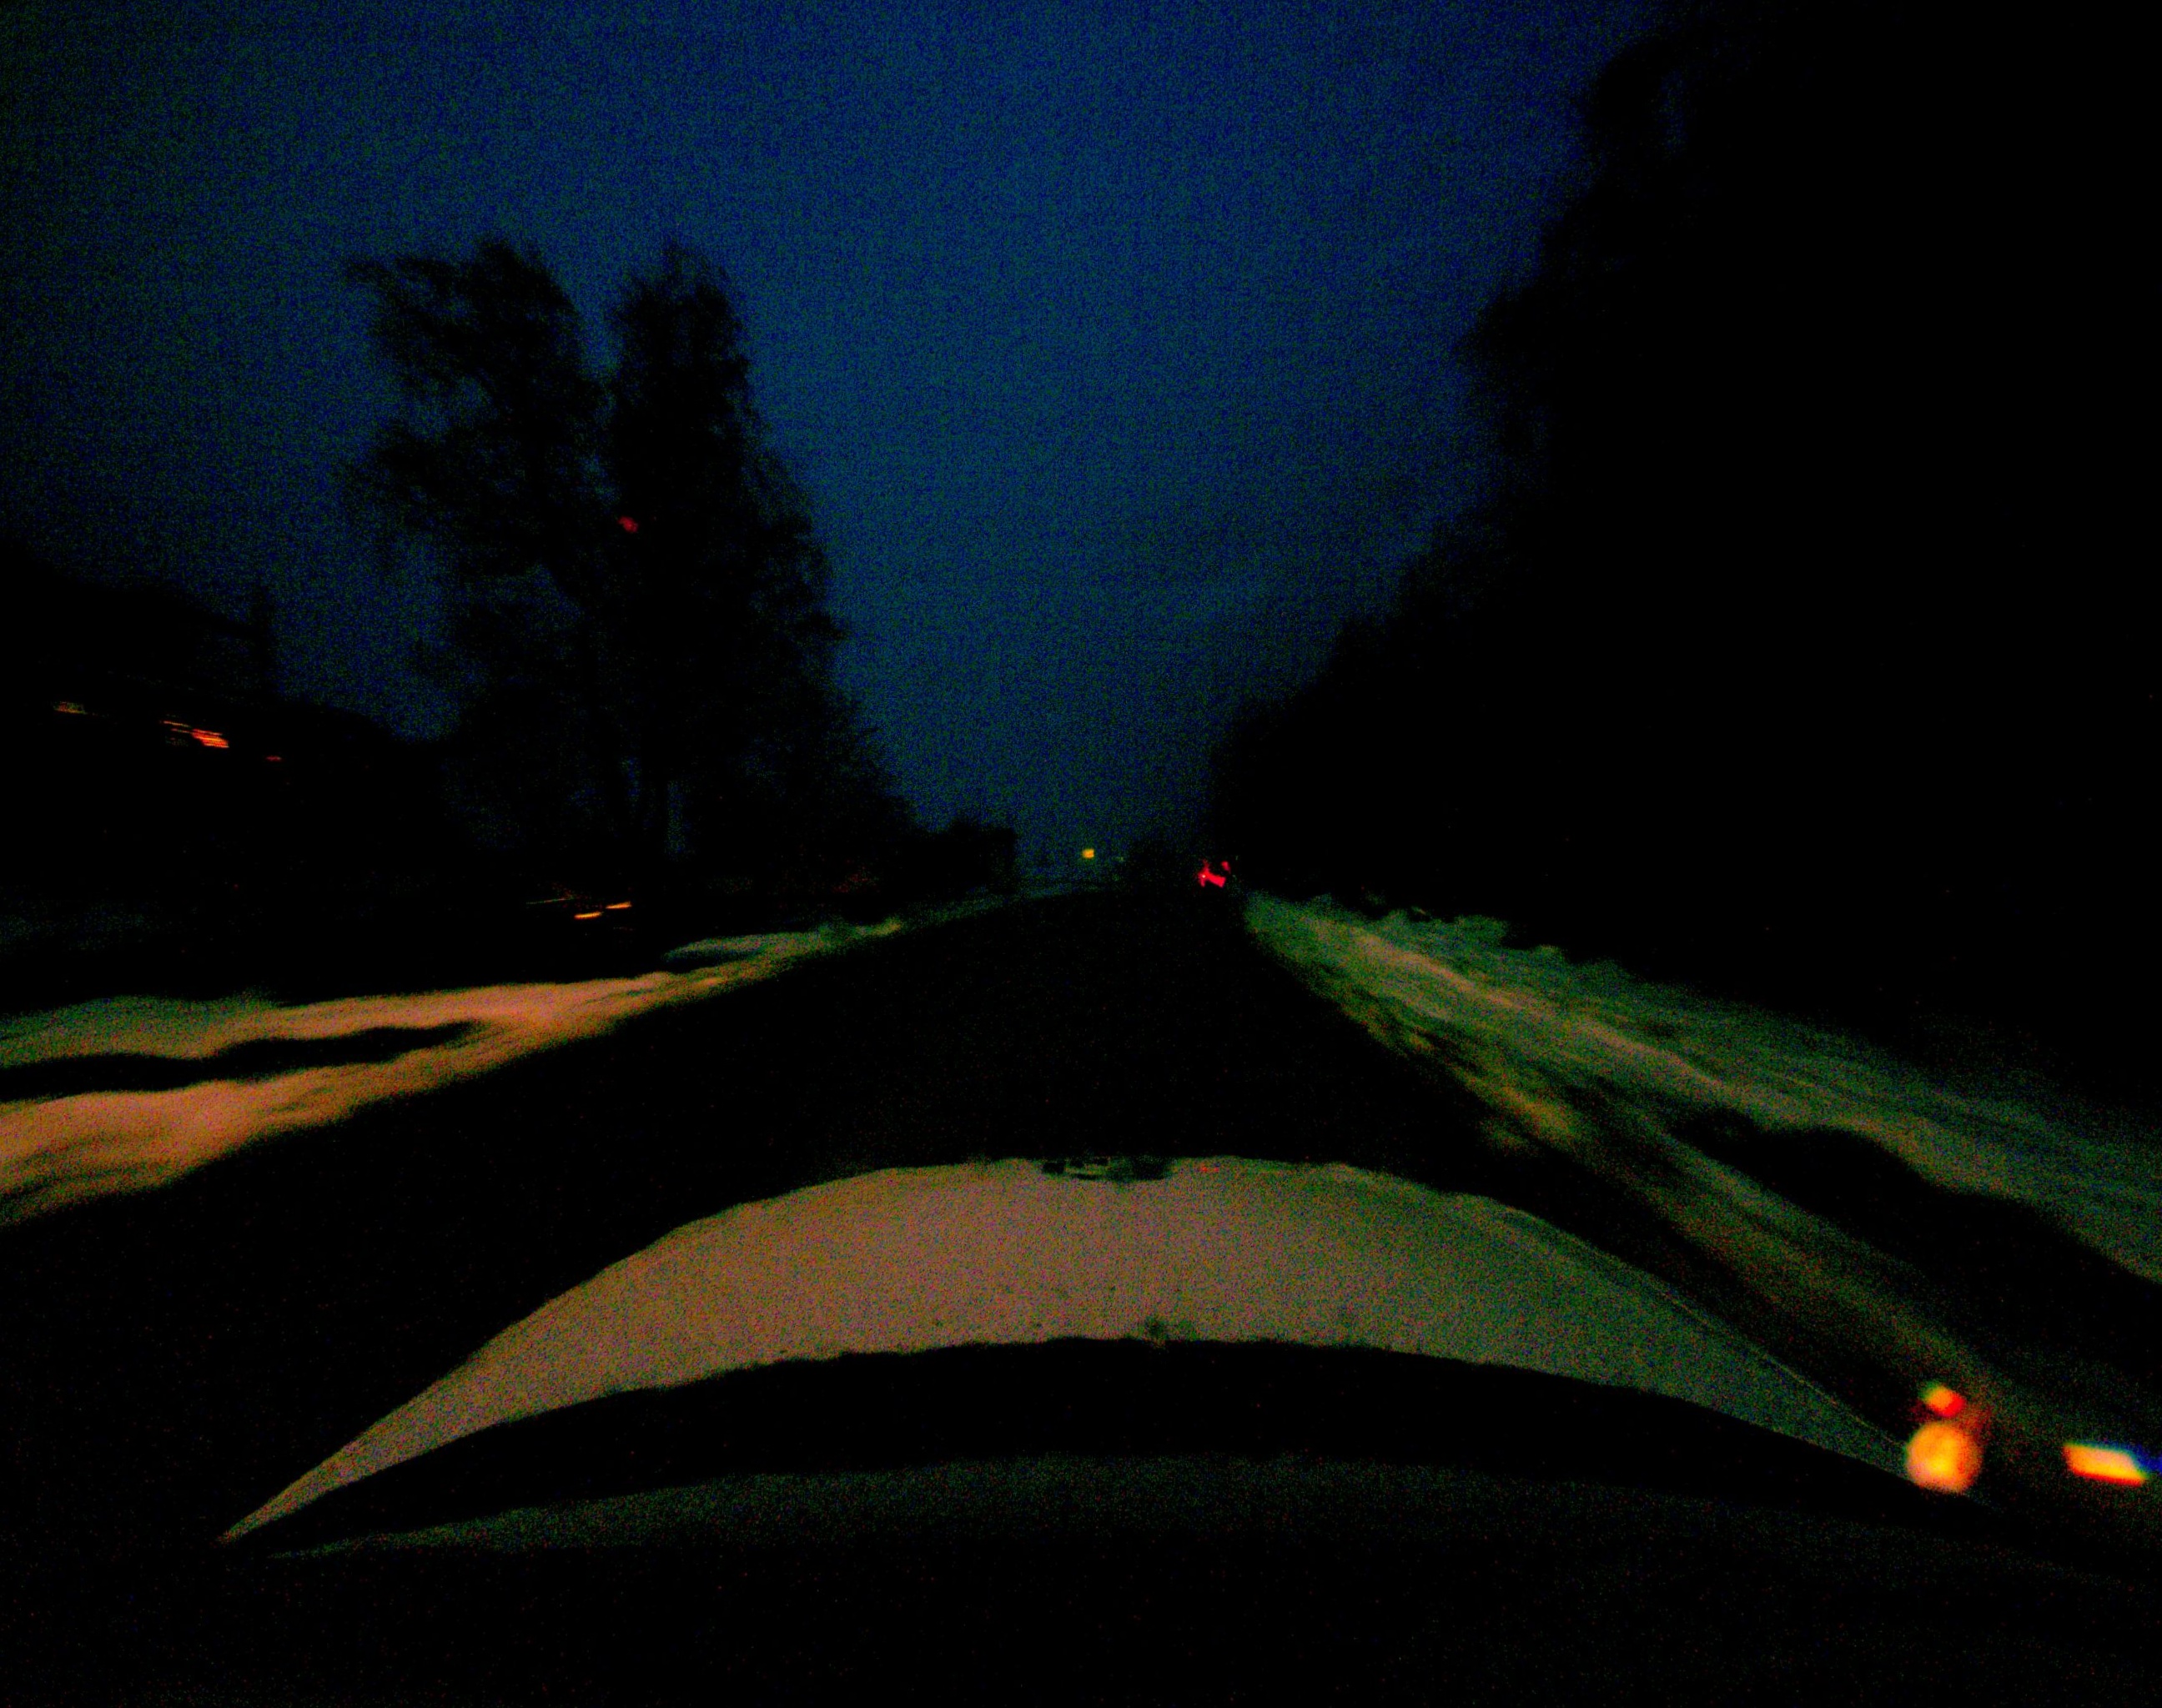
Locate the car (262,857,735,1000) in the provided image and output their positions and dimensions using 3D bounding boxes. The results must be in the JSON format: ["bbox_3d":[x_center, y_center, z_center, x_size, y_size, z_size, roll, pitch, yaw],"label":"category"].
[{"bbox_3d":[-7.723,0.926,11.269,4.874,1.485,2.122,-3,0,-2],"label":"car"}]

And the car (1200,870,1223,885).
[{"bbox_3d":[12.682,2.315,79.325,1.983,1.420,4.007,-1,-2,7],"label":"car"}]

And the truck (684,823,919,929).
[{"bbox_3d":[-7.072,0.527,21.079,5.248,2.302,1.998,-3,0,-3],"label":"truck"}]
